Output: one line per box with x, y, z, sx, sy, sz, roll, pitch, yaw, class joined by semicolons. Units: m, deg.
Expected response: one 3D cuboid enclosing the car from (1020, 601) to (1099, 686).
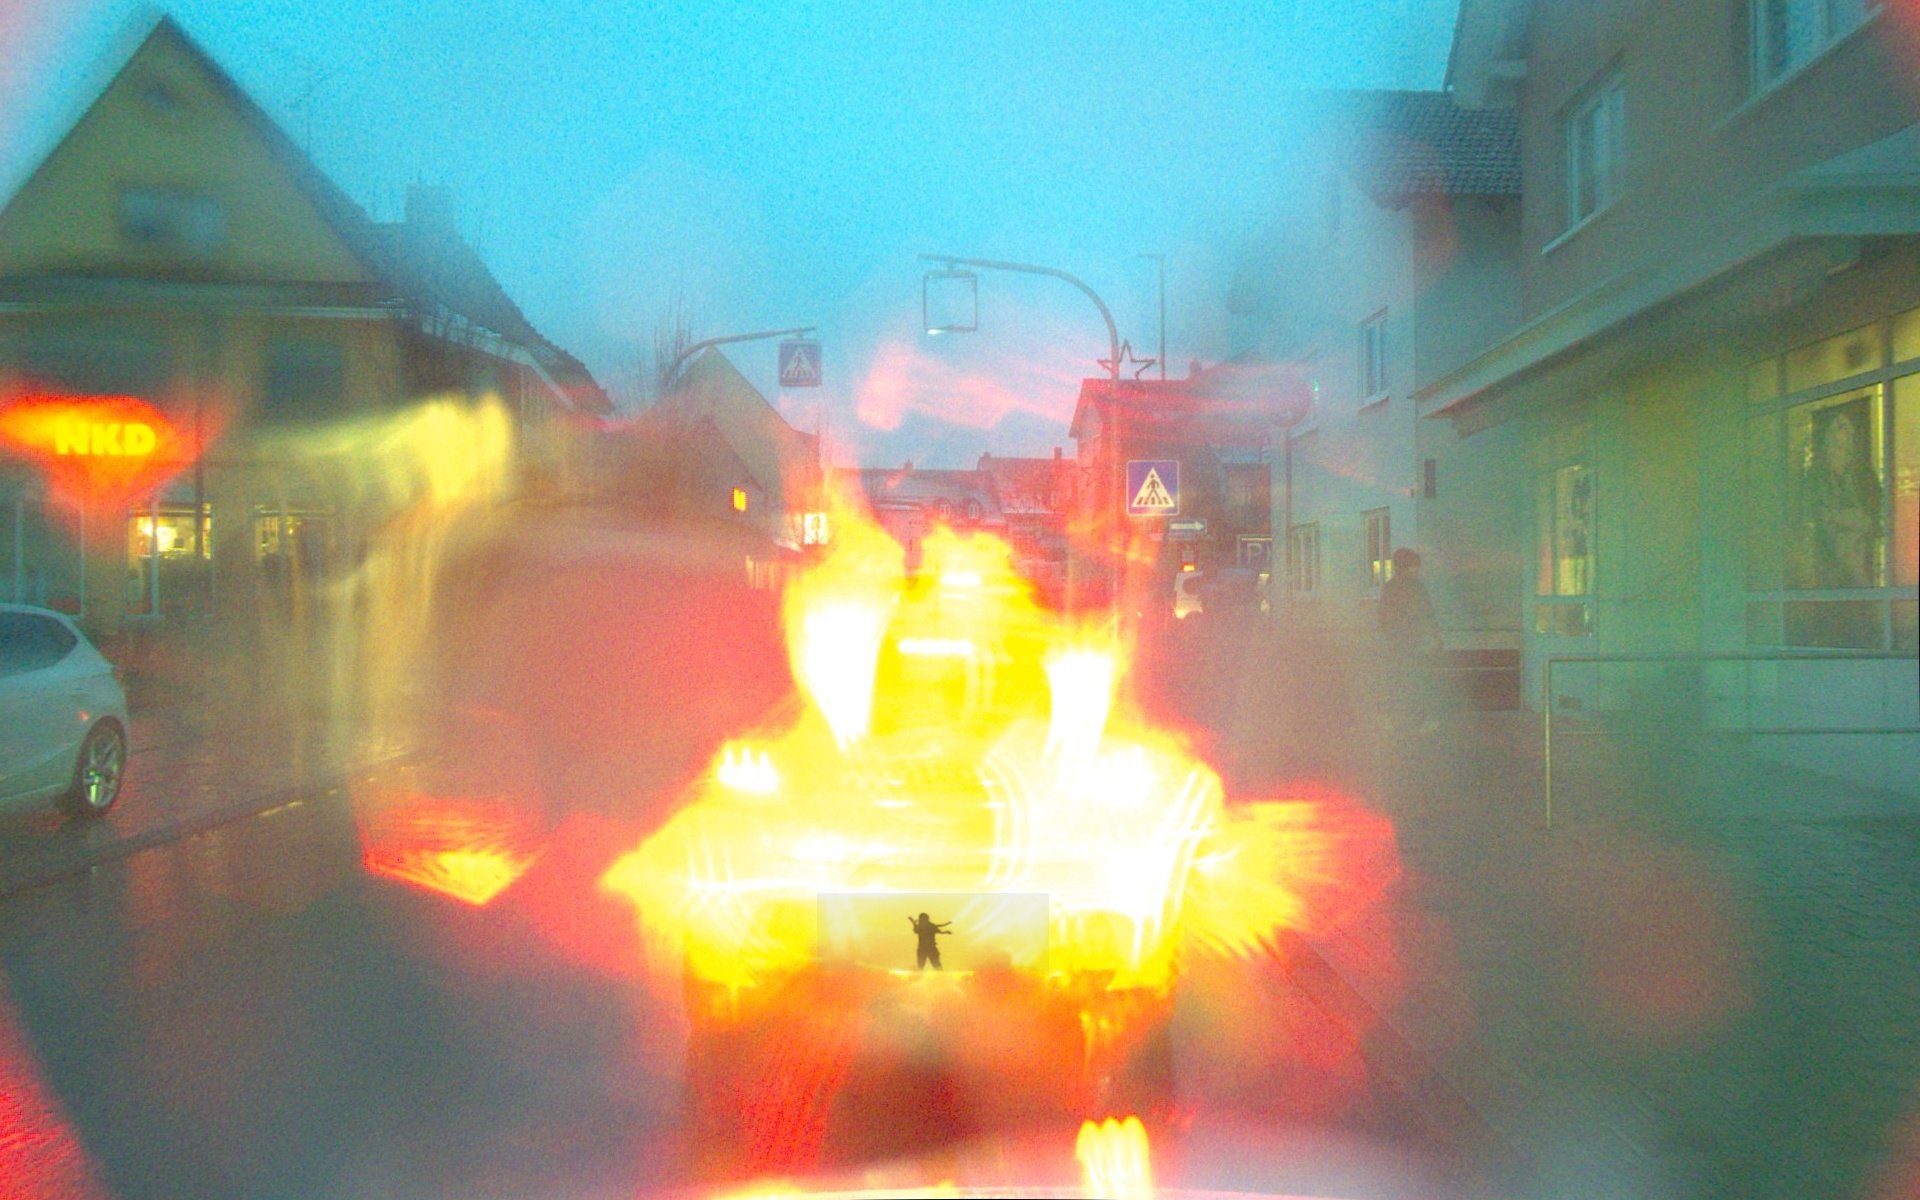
2.572;1.095;43.539;1.609;2.049;3.998;-2;1;-3;car

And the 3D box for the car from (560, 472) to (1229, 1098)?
-0.105;0.511;7.171;1.952;1.827;4.650;0;1;2;car

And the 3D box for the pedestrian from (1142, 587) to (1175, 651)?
6.405;0.608;53.335;0.995;2.049;1.276;0;0;4;pedestrian

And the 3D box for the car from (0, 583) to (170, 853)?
-6.337;0.668;9.534;1.636;1.543;3.999;2;0;-1;car

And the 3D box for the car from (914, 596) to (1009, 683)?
0.090;0.742;33.588;1.789;1.629;4.582;0;0;1;car

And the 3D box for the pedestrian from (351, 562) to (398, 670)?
-9.815;0.263;27.734;0.576;1.773;0.683;0;0;-6;pedestrian

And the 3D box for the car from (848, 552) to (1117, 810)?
0.177;0.543;12.941;1.760;1.691;4.000;1;0;1;car

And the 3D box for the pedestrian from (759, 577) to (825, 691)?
-2.684;0.526;26.540;0.954;1.773;0.961;1;1;-2;pedestrian

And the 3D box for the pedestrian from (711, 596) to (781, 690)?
-3.518;0.703;27.280;0.872;1.442;0.776;6;-1;4;pedestrian

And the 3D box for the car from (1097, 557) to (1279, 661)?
4.703;0.186;34.481;3.620;2.049;1.690;1;-1;3;car

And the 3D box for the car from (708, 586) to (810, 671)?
-5.045;0.680;42.058;1.952;2.049;4.362;0;0;1;car

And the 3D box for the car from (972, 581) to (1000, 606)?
1.541;-0.395;97.161;1.503;1.266;3.648;-5;1;2;car

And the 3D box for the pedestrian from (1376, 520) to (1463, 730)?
4.341;0.232;15.664;0.649;1.921;0.824;1;-1;6;pedestrian

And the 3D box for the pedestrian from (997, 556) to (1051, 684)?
0.968;0.299;25.175;0.689;1.909;0.616;1;1;-8;pedestrian
